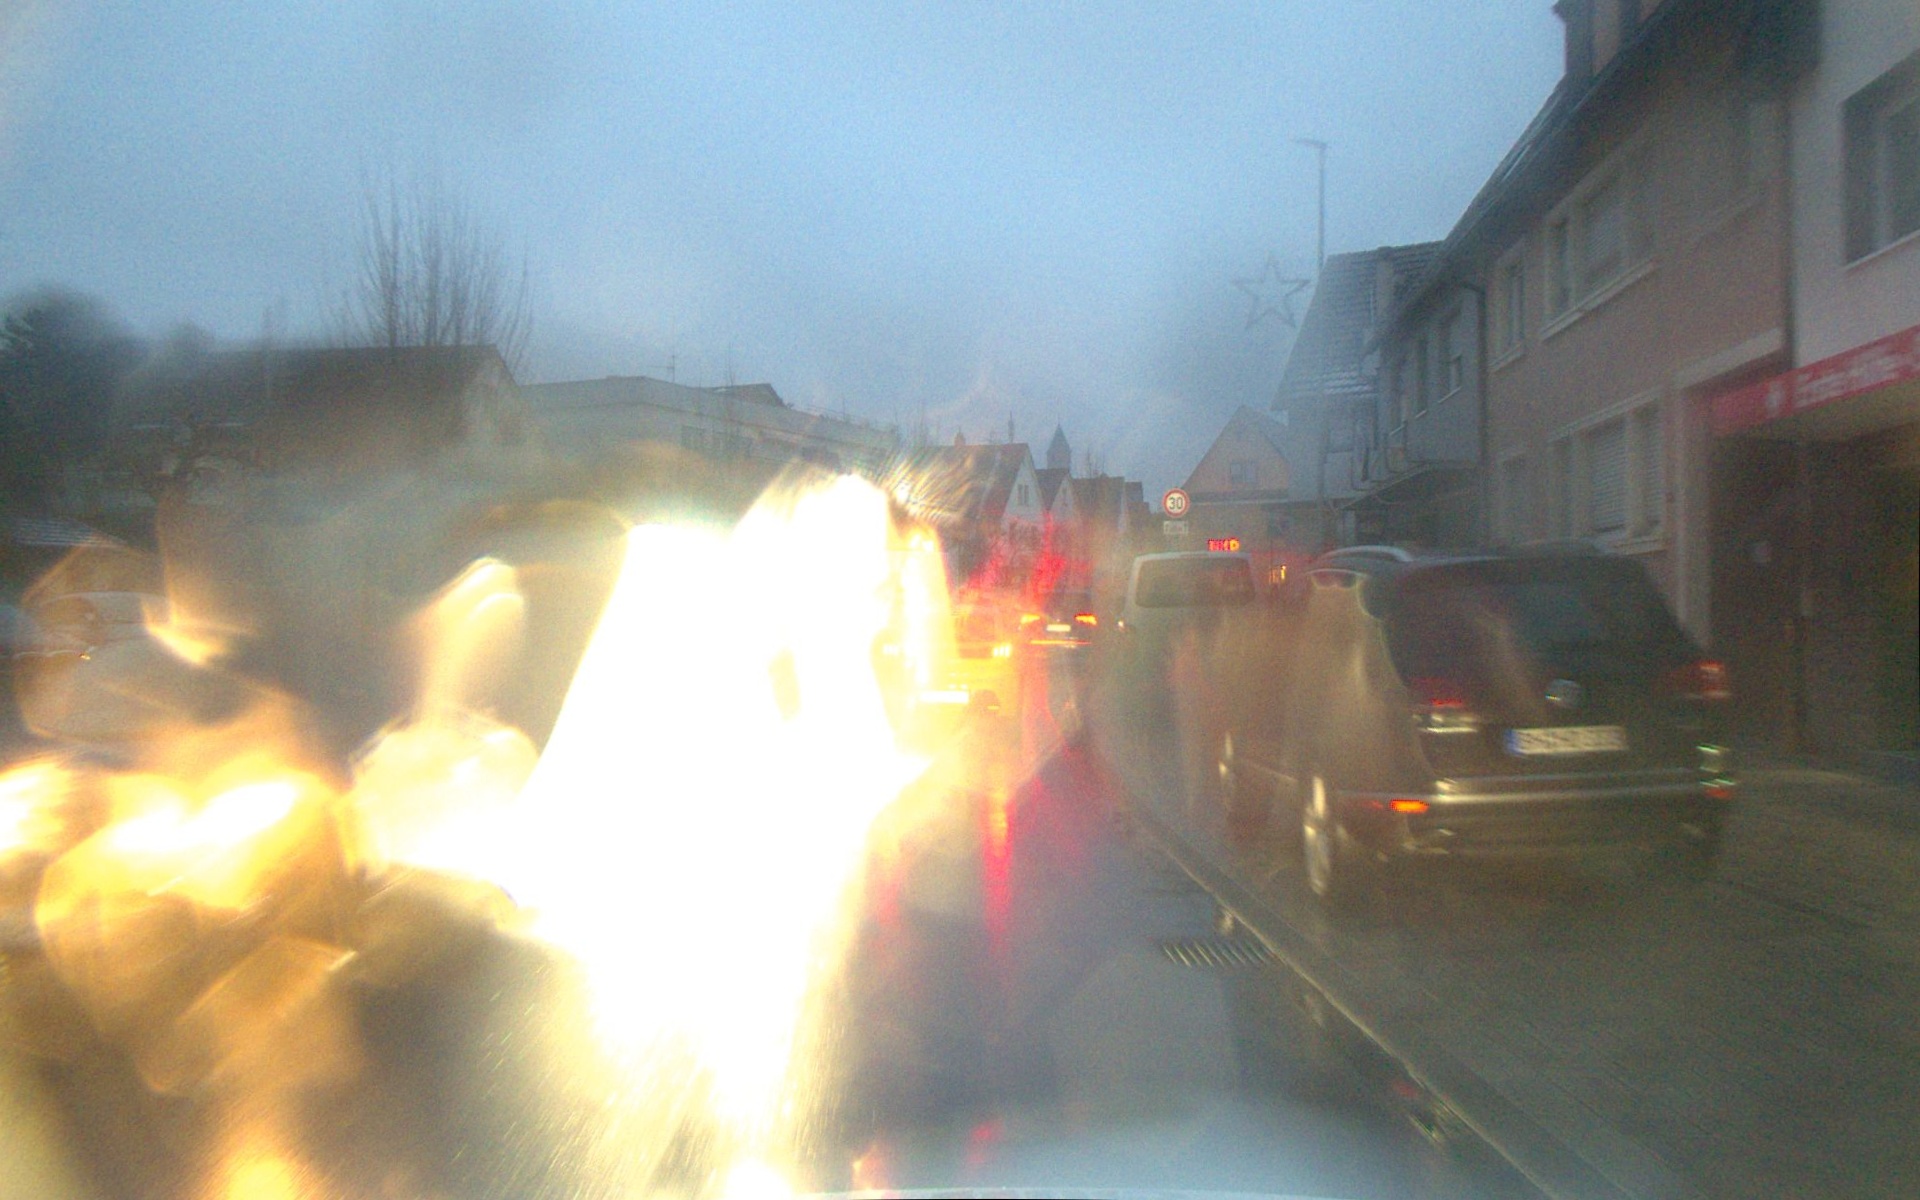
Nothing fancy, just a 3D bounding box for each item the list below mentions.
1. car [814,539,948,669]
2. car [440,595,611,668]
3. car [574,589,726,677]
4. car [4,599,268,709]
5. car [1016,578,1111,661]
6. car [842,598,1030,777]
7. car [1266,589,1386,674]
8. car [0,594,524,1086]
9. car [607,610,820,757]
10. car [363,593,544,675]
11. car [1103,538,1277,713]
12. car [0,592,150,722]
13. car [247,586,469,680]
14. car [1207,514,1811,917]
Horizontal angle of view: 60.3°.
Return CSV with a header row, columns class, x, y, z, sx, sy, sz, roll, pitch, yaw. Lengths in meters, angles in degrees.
class,x,y,z,sx,sy,sz,roll,pitch,yaw
car,-1.585,0.054,35.719,2.148,2.534,6.146,-1,0,4
car,-9.866,0.670,37.421,3.931,1.557,1.987,0,0,43
car,-5.847,0.583,31.679,1.865,1.560,4.258,0,0,3
car,-12.131,0.767,24.293,3.990,1.485,1.752,-1,-1,34
car,2.297,0.396,35.793,1.759,1.691,4.003,0,0,8
car,-0.188,0.918,19.771,1.952,1.827,4.649,-1,0,1
car,7.461,0.604,33.983,1.698,1.588,3.664,-2,0,1
car,-3.178,0.768,7.148,1.587,1.506,3.838,-2,1,-1
car,-2.985,0.958,20.971,1.788,1.545,4.550,-1,0,3
car,-10.766,0.732,35.052,4.035,1.610,1.712,-2,-1,39
car,2.882,0.278,21.663,1.931,1.994,4.855,-1,0,4
car,-12.294,0.705,21.220,3.853,1.484,1.757,-1,1,35
car,-11.648,0.640,31.900,4.567,1.683,1.978,-1,-1,39
car,2.695,0.480,9.341,1.934,1.690,4.460,-1,0,0
